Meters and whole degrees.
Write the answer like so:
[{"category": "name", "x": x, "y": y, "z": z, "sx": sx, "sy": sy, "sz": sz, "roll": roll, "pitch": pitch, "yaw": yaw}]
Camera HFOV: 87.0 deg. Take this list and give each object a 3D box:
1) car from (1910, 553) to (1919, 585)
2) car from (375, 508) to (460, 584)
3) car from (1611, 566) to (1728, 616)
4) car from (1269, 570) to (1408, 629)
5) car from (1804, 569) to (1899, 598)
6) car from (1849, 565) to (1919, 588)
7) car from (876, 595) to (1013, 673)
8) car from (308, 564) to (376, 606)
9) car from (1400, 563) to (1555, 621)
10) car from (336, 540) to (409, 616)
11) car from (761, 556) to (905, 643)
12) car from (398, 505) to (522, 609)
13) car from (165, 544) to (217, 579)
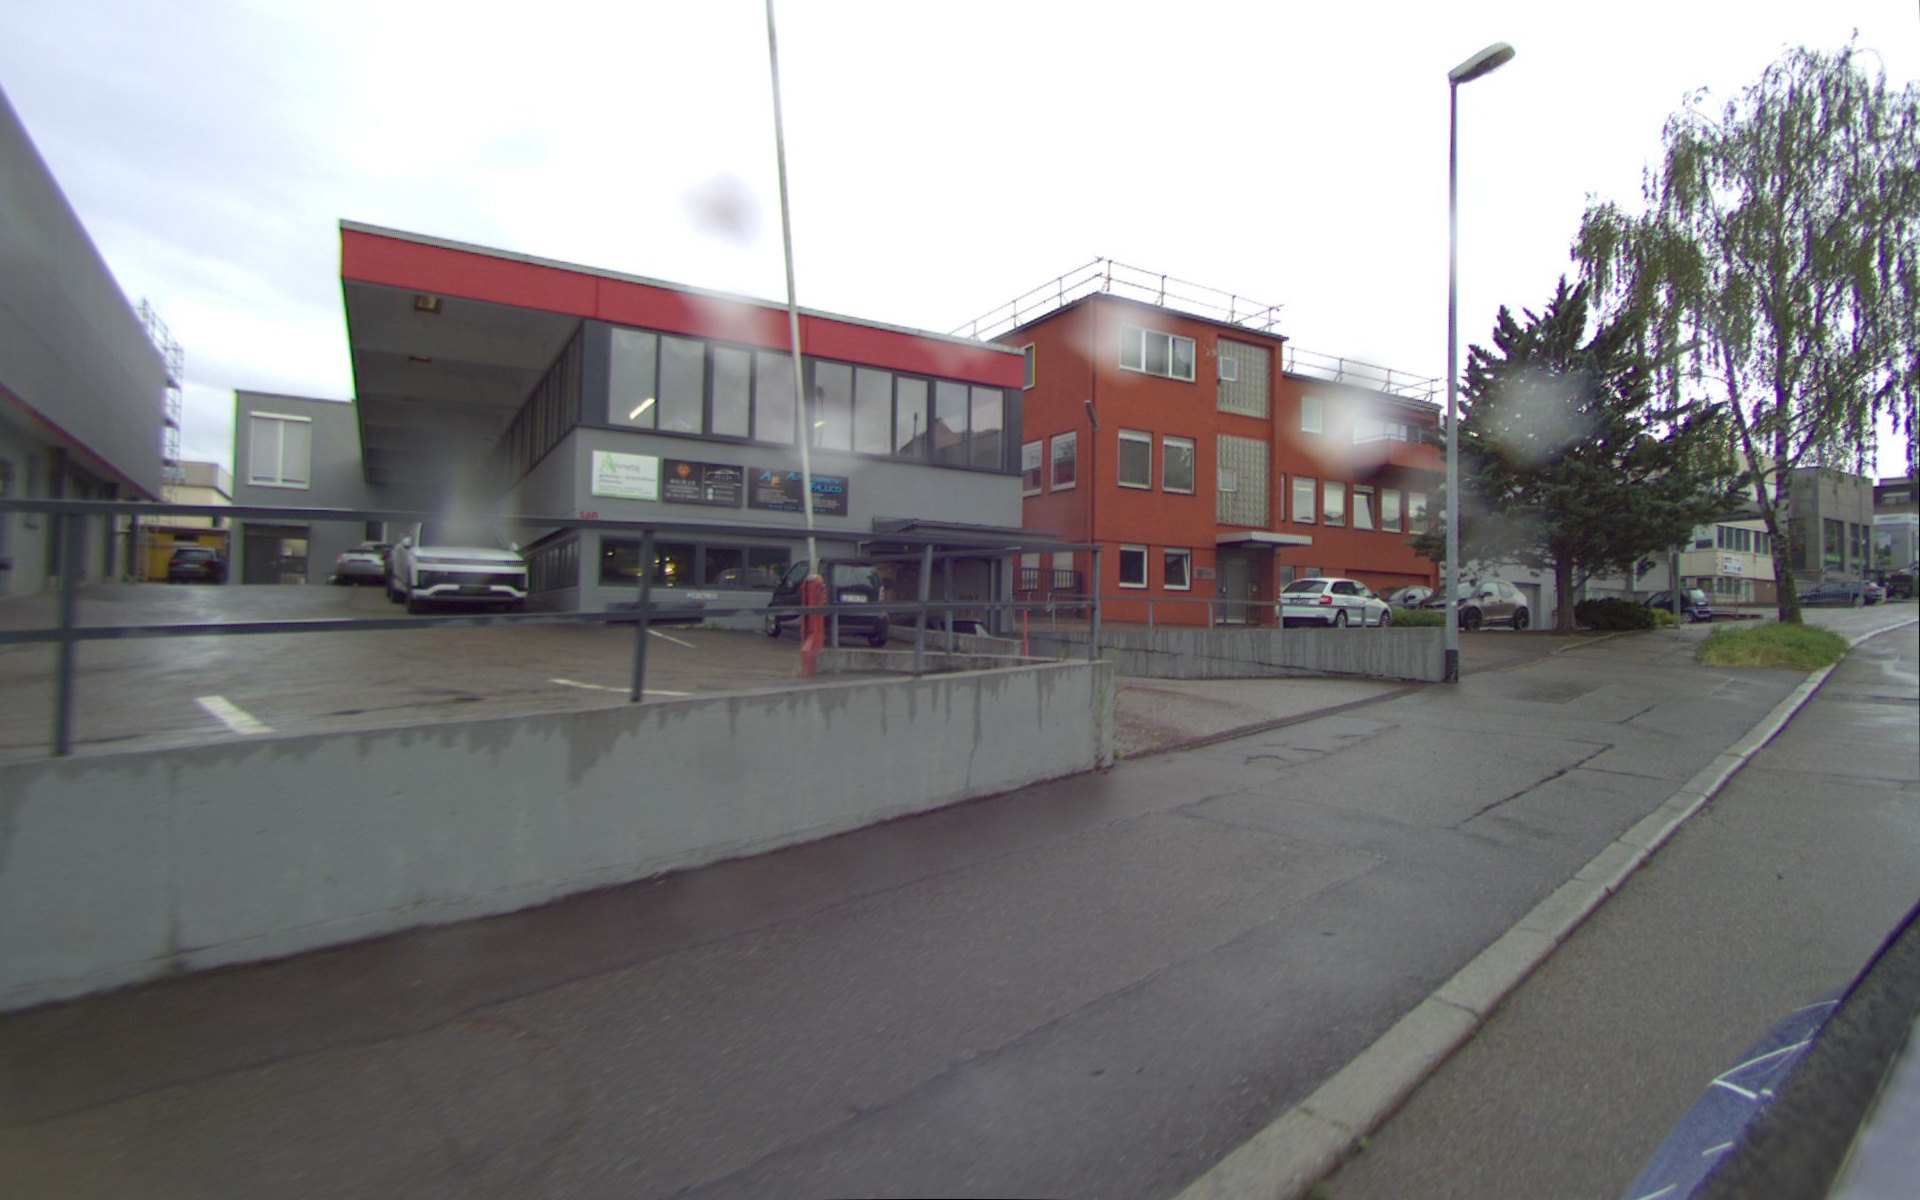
[{"category": "car", "x": 71.889, "y": -2.255, "z": 72.498, "sx": 2.158, "sy": 2.323, "sz": 5.162, "roll": -1, "pitch": 1, "yaw": -29}, {"category": "car", "x": -13.118, "y": -1.227, "z": 24.368, "sx": 1.637, "sy": 1.677, "sz": 3.714, "roll": 0, "pitch": 1, "yaw": -31}, {"category": "car", "x": 29.368, "y": -0.340, "z": 41.995, "sx": 1.585, "sy": 1.520, "sz": 3.447, "roll": -1, "pitch": -8, "yaw": -28}, {"category": "car", "x": 10.370, "y": -0.069, "z": 27.597, "sx": 4.257, "sy": 1.489, "sz": 1.906, "roll": -1, "pitch": 2, "yaw": -43}, {"category": "car", "x": 50.685, "y": -0.963, "z": 57.622, "sx": 1.599, "sy": 1.559, "sz": 3.754, "roll": -1, "pitch": 2, "yaw": -33}, {"category": "car", "x": 62.468, "y": -1.558, "z": 67.340, "sx": 1.903, "sy": 1.516, "sz": 4.630, "roll": -1, "pitch": 1, "yaw": -31}, {"category": "car", "x": -0.391, "y": 0.681, "z": 22.158, "sx": 1.599, "sy": 1.513, "sz": 3.045, "roll": -1, "pitch": 2, "yaw": -35}, {"category": "car", "x": -21.970, "y": -0.582, "z": 36.049, "sx": 1.960, "sy": 1.415, "sz": 4.004, "roll": -1, "pitch": 2, "yaw": -31}, {"category": "car", "x": 15.685, "y": -0.246, "z": 30.640, "sx": 4.421, "sy": 1.599, "sz": 2.004, "roll": -1, "pitch": -1, "yaw": -29}, {"category": "car", "x": -17.180, "y": -0.668, "z": 29.591, "sx": 1.742, "sy": 2.038, "sz": 4.004, "roll": -1, "pitch": 2, "yaw": -31}, {"category": "car", "x": -2.398, "y": -0.052, "z": 18.661, "sx": 1.645, "sy": 1.464, "sz": 2.723, "roll": -1, "pitch": 2, "yaw": -32}, {"category": "car", "x": -9.703, "y": -0.830, "z": 19.467, "sx": 1.821, "sy": 1.759, "sz": 3.942, "roll": 1, "pitch": 2, "yaw": -31}, {"category": "car", "x": -34.562, "y": -1.703, "z": 45.541, "sx": 1.610, "sy": 1.491, "sz": 3.063, "roll": -1, "pitch": 1, "yaw": -33}]
